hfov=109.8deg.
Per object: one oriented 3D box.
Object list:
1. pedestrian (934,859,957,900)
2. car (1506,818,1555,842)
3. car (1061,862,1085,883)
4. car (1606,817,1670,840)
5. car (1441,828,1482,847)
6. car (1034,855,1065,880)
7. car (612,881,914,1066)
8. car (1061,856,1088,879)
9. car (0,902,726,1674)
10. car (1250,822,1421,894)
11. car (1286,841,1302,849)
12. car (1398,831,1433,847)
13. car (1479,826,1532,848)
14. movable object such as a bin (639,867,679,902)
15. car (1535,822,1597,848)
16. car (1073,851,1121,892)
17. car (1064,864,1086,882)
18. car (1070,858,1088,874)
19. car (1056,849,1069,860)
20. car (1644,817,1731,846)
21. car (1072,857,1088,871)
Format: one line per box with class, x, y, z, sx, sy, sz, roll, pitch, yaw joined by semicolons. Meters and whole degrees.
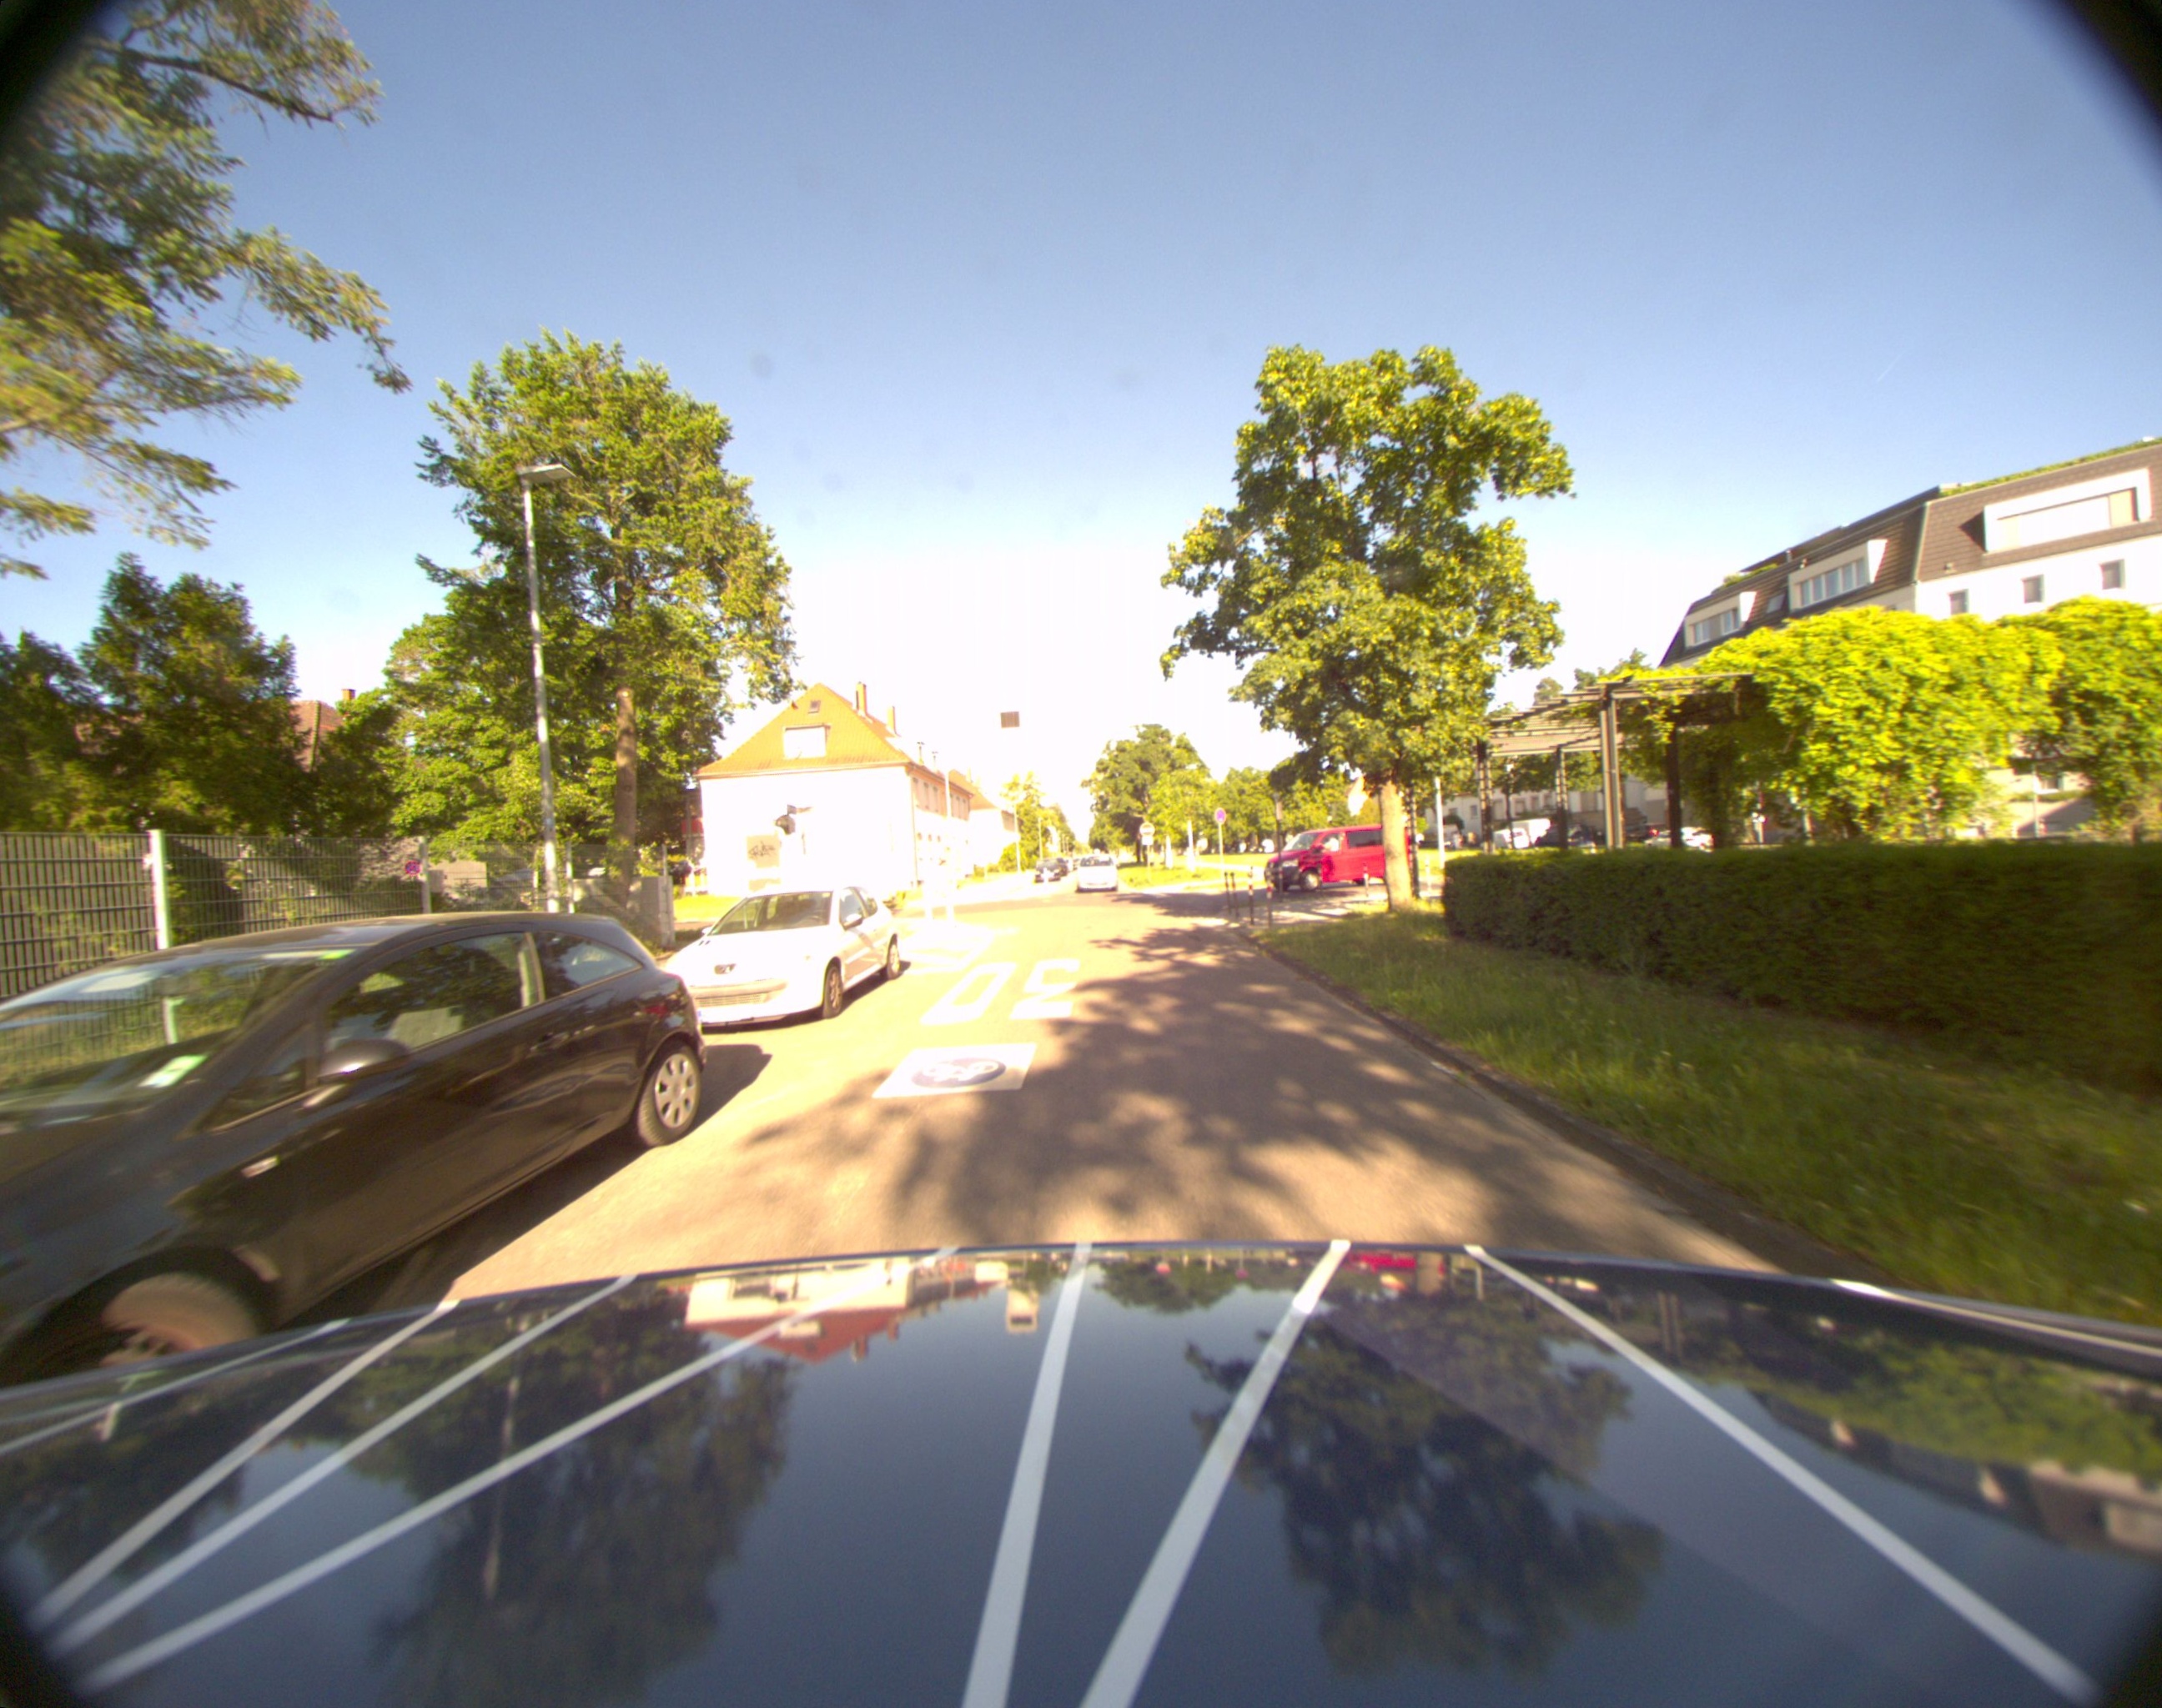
pedestrian;-5.618;1.054;31.544;0.649;1.658;0.650;-1;3;12
car;41.058;-2.154;69.532;1.941;2.017;4.406;-2;1;3
car;-0.616;1.508;62.910;1.798;1.529;4.001;-4;-1;1
car;40.727;-1.846;55.697;1.798;1.501;4.000;-2;1;1
car;35.247;-1.524;70.494;1.798;1.665;4.000;-2;1;1
car;-2.137;0.938;52.699;1.798;1.529;4.001;-4;-1;1
car;-3.420;1.187;9.143;1.676;1.414;4.134;-5;0;2
car;-0.470;1.031;56.839;1.798;1.529;4.001;-4;-1;1
car;-3.342;1.153;2.984;1.798;1.501;3.995;-5;0;2
car;8.270;0.101;24.815;4.846;2.001;2.091;-3;1;-14
car;41.764;-1.744;149.124;1.798;1.603;4.405;-2;1;1
car;35.645;-1.601;81.076;1.798;1.603;4.405;-2;1;1
car;34.874;-1.386;62.505;2.057;1.683;4.406;-2;1;4
movable object such as a bin;-20.679;1.465;37.281;1.174;1.599;1.194;-4;0;1
car;34.656;-1.329;54.402;1.798;1.683;4.132;-2;1;1
car;0.667;0.737;32.274;1.798;1.524;4.001;-4;-1;1
car;-0.510;1.705;68.794;1.798;1.529;4.001;-4;-1;1
car;-0.149;1.315;83.265;1.798;1.529;4.001;-4;-1;1
car;-2.796;0.100;115.492;1.798;1.529;4.001;-4;-1;1
car;34.737;-1.248;43.648;1.798;1.501;4.000;-2;1;1
car;-0.105;1.230;93.325;1.798;1.529;4.001;-4;-1;1
